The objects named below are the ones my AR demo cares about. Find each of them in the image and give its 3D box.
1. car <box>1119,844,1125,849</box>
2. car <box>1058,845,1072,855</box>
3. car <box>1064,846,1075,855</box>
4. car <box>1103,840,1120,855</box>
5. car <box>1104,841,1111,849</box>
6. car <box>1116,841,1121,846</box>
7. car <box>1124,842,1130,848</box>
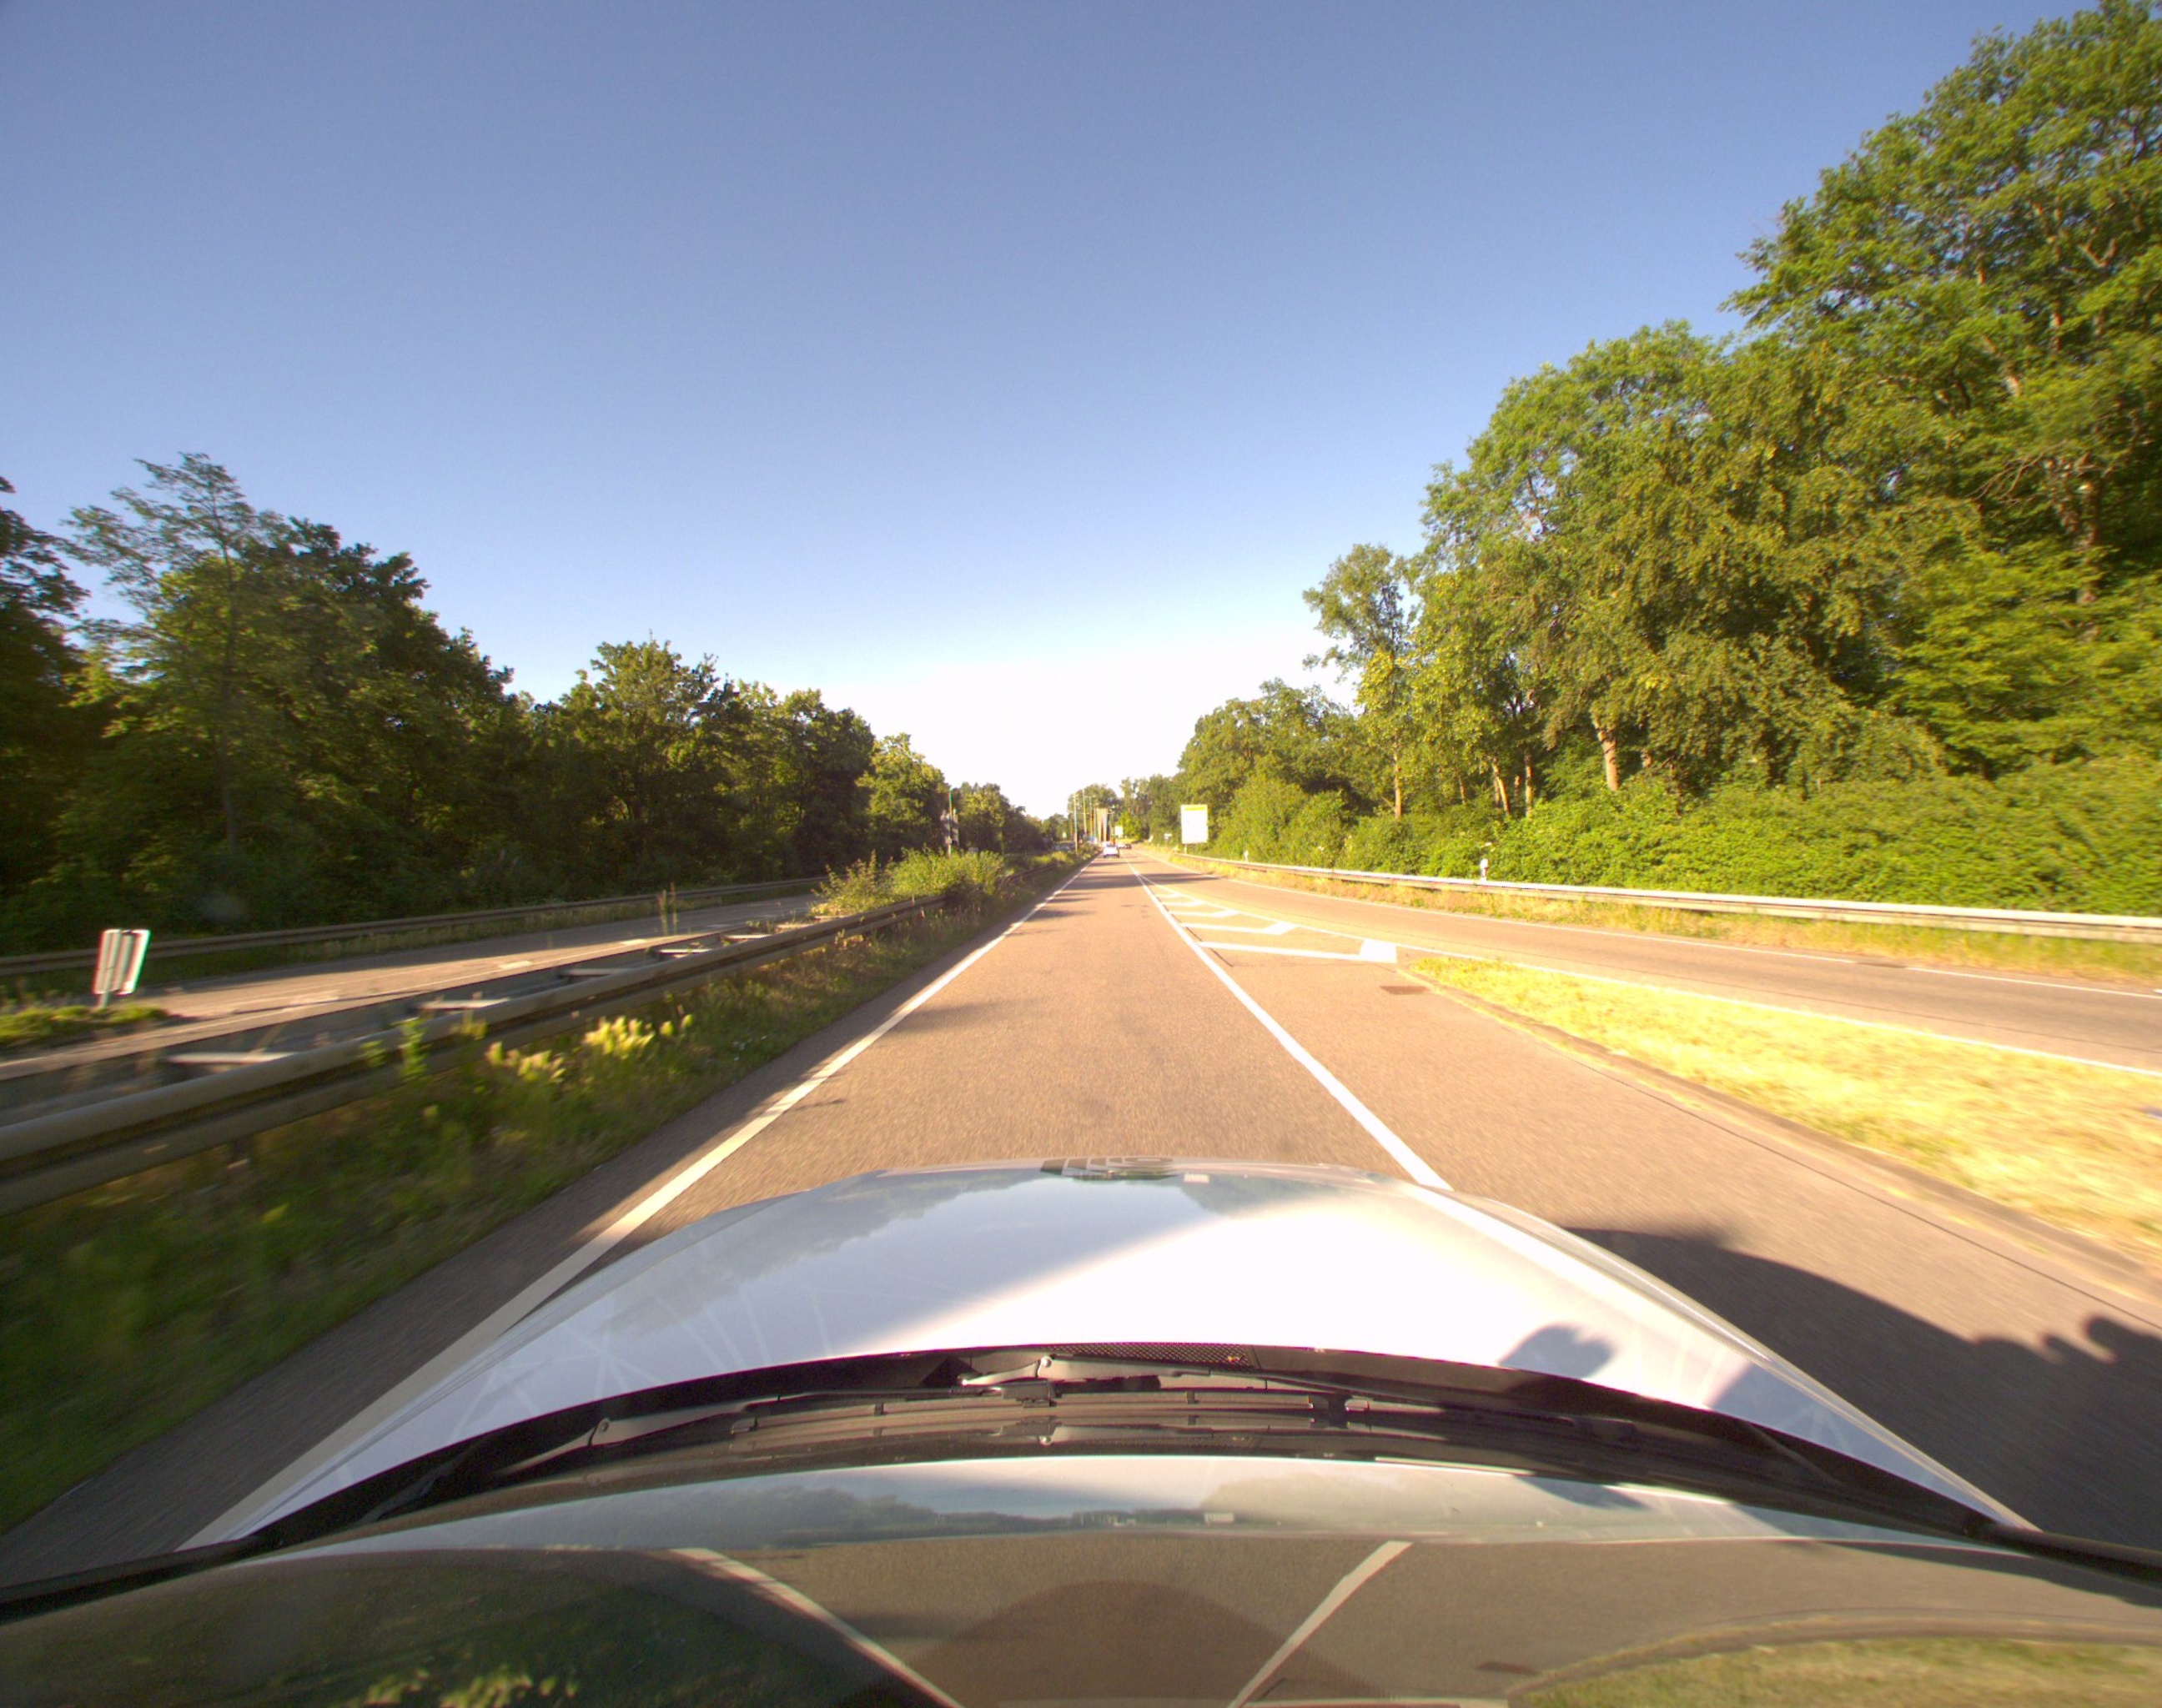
[{"bbox_3d":[10.995,-2.105,216.836,1.618,1.280,2.988,1,0,2],"label":"car"},{"bbox_3d":[-2.494,-0.601,126.949,1.773,1.403,4.558,-2,1,4],"label":"car"},{"bbox_3d":[-2.066,-0.735,152.120,1.611,1.530,4.614,-2,1,4],"label":"car"},{"bbox_3d":[3.671,-0.754,98.369,1.986,1.639,4.129,-3,1,1],"label":"car"},{"bbox_3d":[7.369,-2.481,226.565,1.986,2.013,4.001,0,0,2],"label":"car"},{"bbox_3d":[11.023,-3.055,238.936,1.618,1.389,2.988,1,0,2],"label":"car"},{"bbox_3d":[11.231,-2.173,198.451,1.382,1.280,2.988,1,0,2],"label":"car"}]
